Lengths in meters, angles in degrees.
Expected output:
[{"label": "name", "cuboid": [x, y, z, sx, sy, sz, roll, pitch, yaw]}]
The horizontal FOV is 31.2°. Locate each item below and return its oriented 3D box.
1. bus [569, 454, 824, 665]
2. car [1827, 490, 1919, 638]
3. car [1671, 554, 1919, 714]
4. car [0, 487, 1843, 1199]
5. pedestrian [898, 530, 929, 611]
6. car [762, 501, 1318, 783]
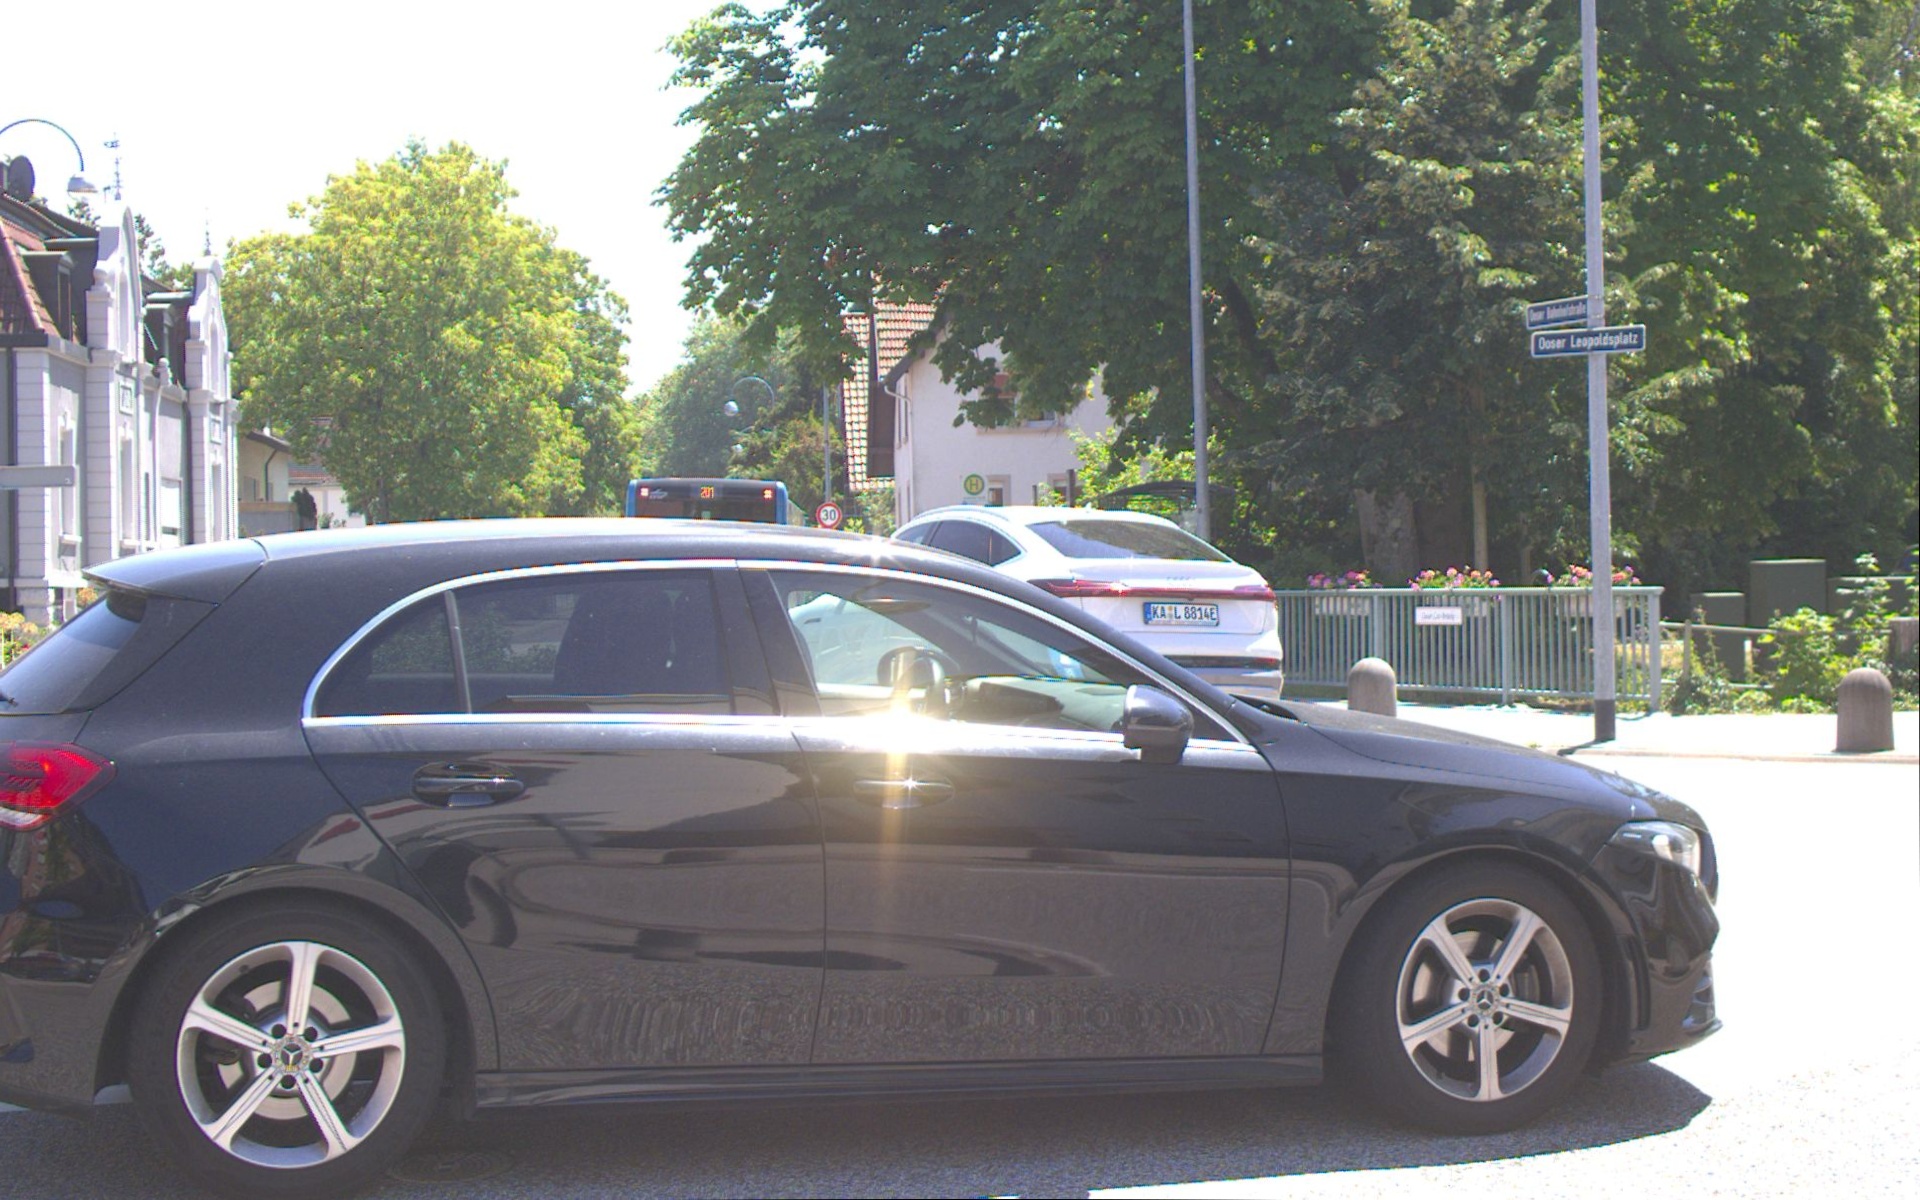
[{"label": "bus", "cuboid": [-4.352, -0.631, 61.151, 3.706, 3.160, 18.070, 1, 0, -2]}, {"label": "car", "cuboid": [14.171, -0.512, 47.074, 1.995, 2.007, 3.998, -2, 1, -43]}, {"label": "car", "cuboid": [9.204, 0.328, 35.868, 3.048, 1.547, 1.635, -2, 1, -16]}, {"label": "car", "cuboid": [-0.301, 0.495, 8.244, 4.422, 1.452, 1.769, -1, 3, -18]}, {"label": "pedestrian", "cuboid": [-0.886, -0.557, 65.272, 0.488, 1.517, 0.543, -1, 1, -9]}, {"label": "car", "cuboid": [0.402, 0.233, 22.827, 1.898, 1.656, 4.410, -1, 1, -25]}]
